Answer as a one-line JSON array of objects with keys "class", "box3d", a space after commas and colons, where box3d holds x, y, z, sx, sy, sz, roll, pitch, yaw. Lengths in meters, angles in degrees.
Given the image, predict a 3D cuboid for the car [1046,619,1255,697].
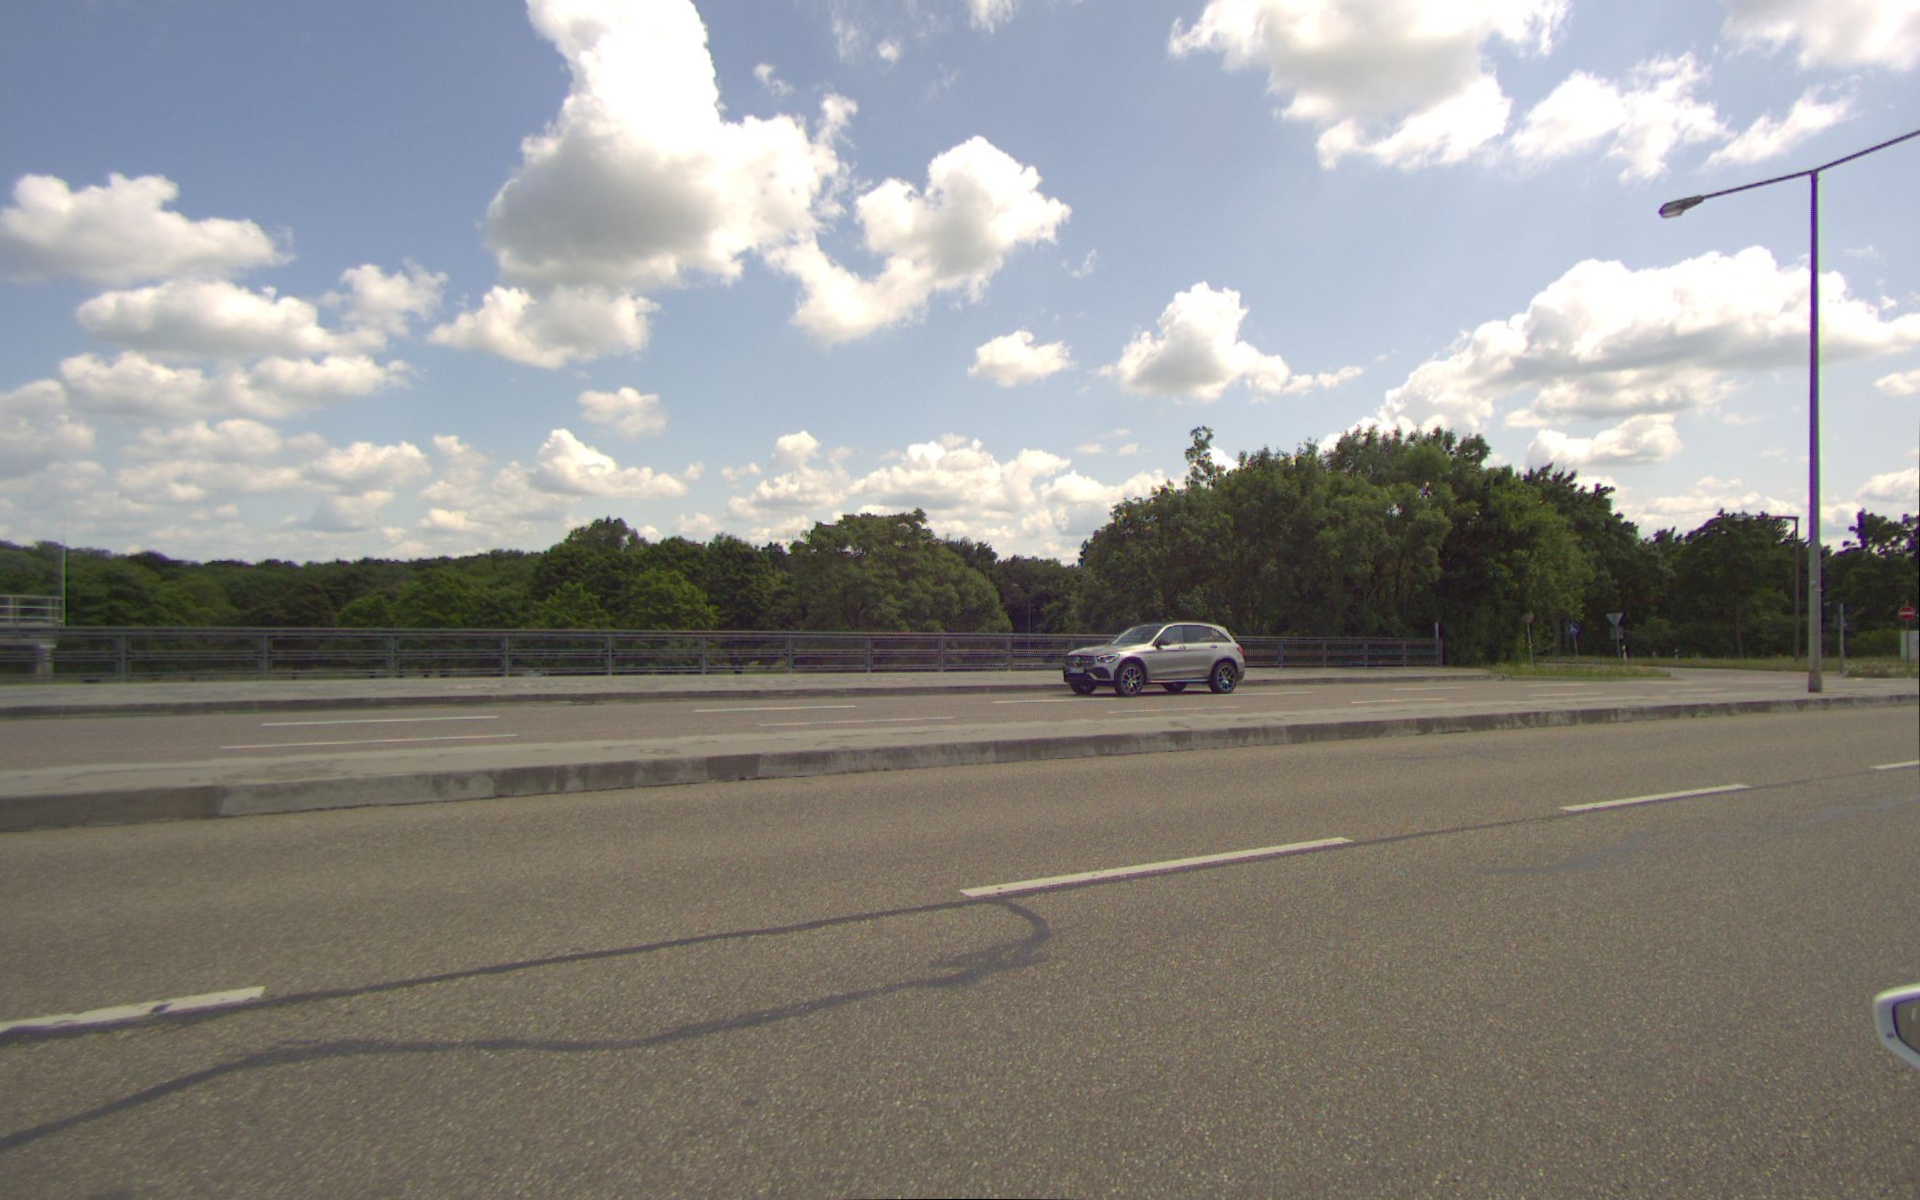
[{"class": "car", "box3d": [4.451, 1.300, 23.374, 4.495, 1.647, 2.079, 0, -3, -30]}]
